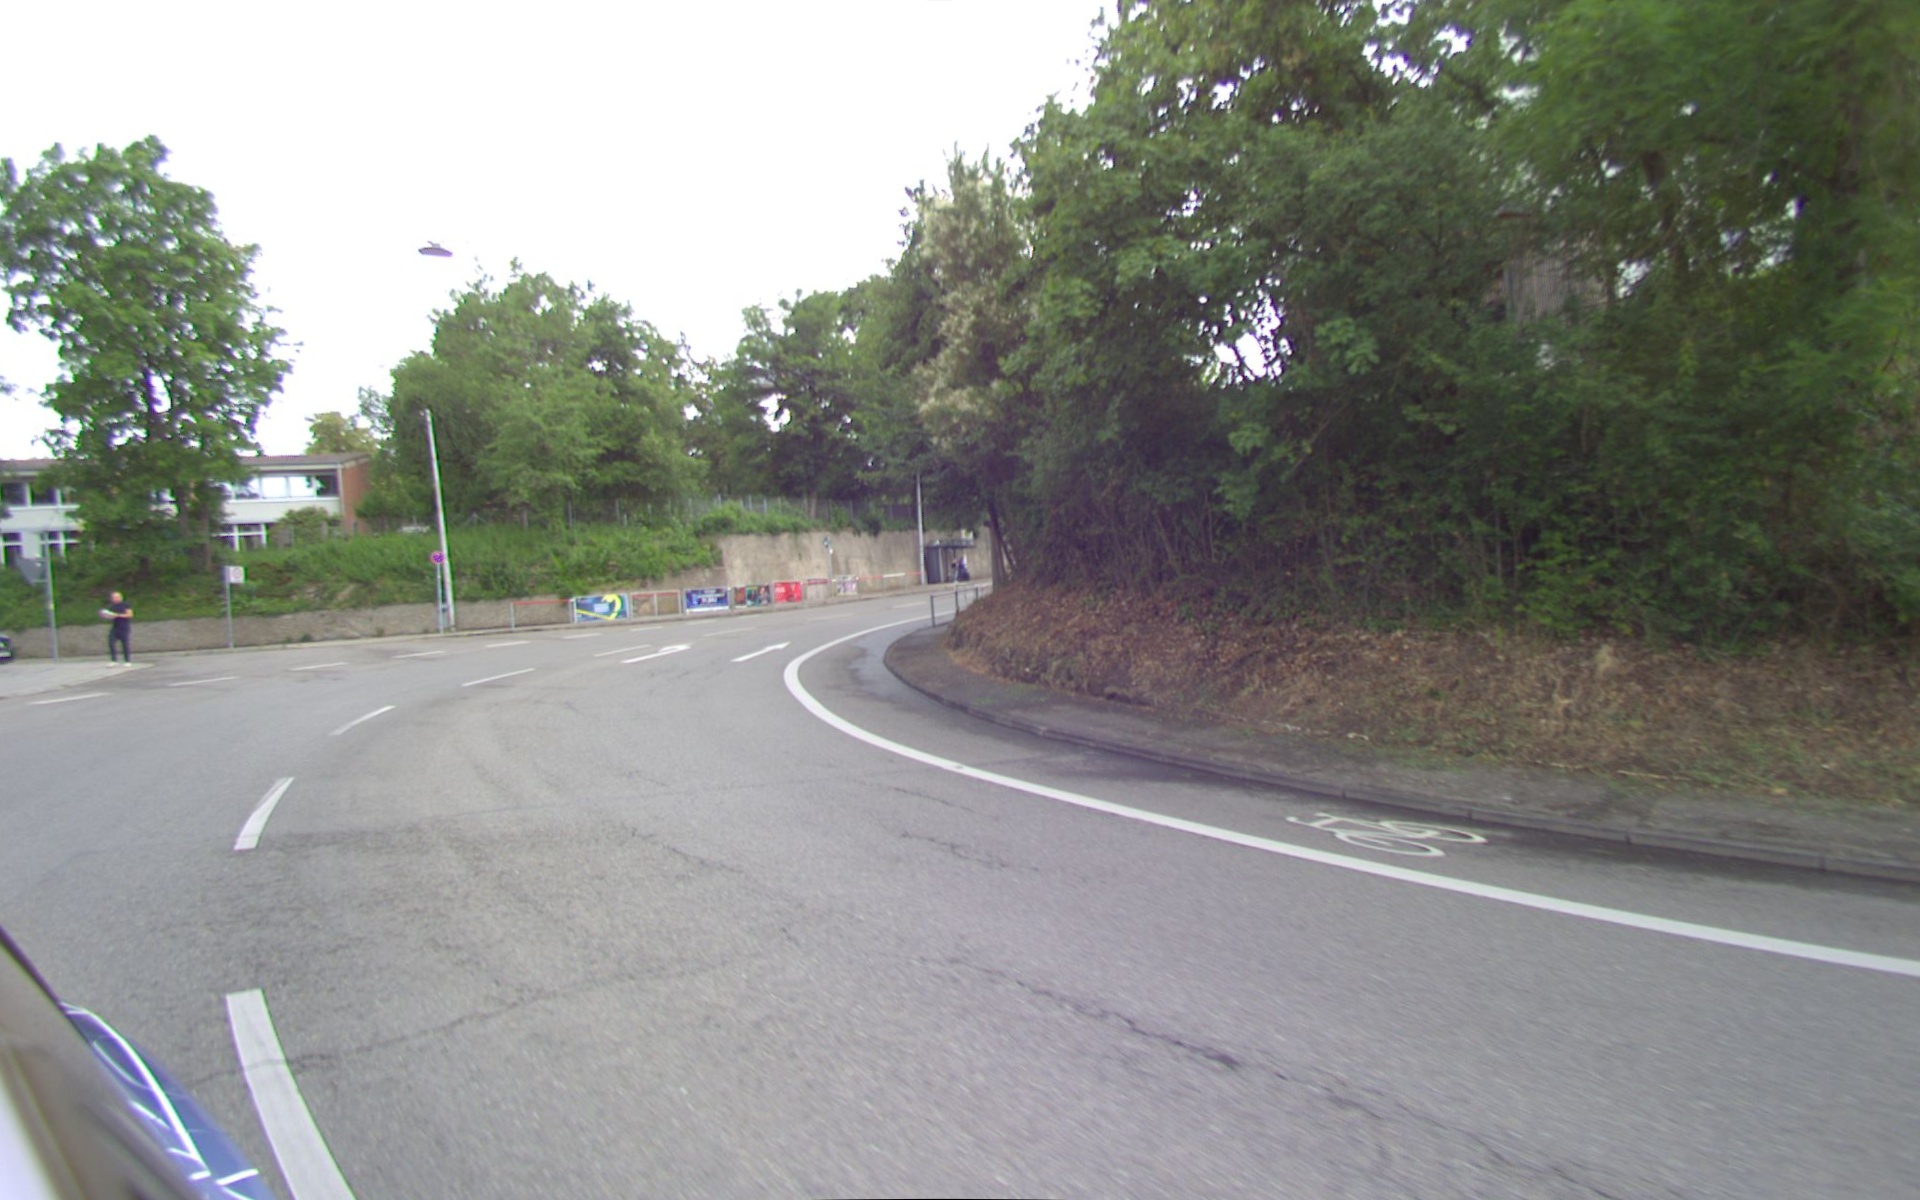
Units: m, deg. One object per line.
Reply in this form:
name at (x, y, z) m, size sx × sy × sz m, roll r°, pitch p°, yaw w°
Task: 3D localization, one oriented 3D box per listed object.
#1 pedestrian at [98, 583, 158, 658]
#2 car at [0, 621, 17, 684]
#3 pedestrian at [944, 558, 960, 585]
pedestrian at (-20.980, 0.507, 25.540) m, size 0.570 × 1.842 × 0.979 m, roll -2°, pitch 0°, yaw 17°
car at (-31.099, 1.712, 29.655) m, size 4.763 × 1.878 × 1.955 m, roll -3°, pitch 0°, yaw -9°
pedestrian at (-0.512, -1.820, 65.001) m, size 0.713 × 1.652 × 0.736 m, roll -2°, pitch 2°, yaw 20°
